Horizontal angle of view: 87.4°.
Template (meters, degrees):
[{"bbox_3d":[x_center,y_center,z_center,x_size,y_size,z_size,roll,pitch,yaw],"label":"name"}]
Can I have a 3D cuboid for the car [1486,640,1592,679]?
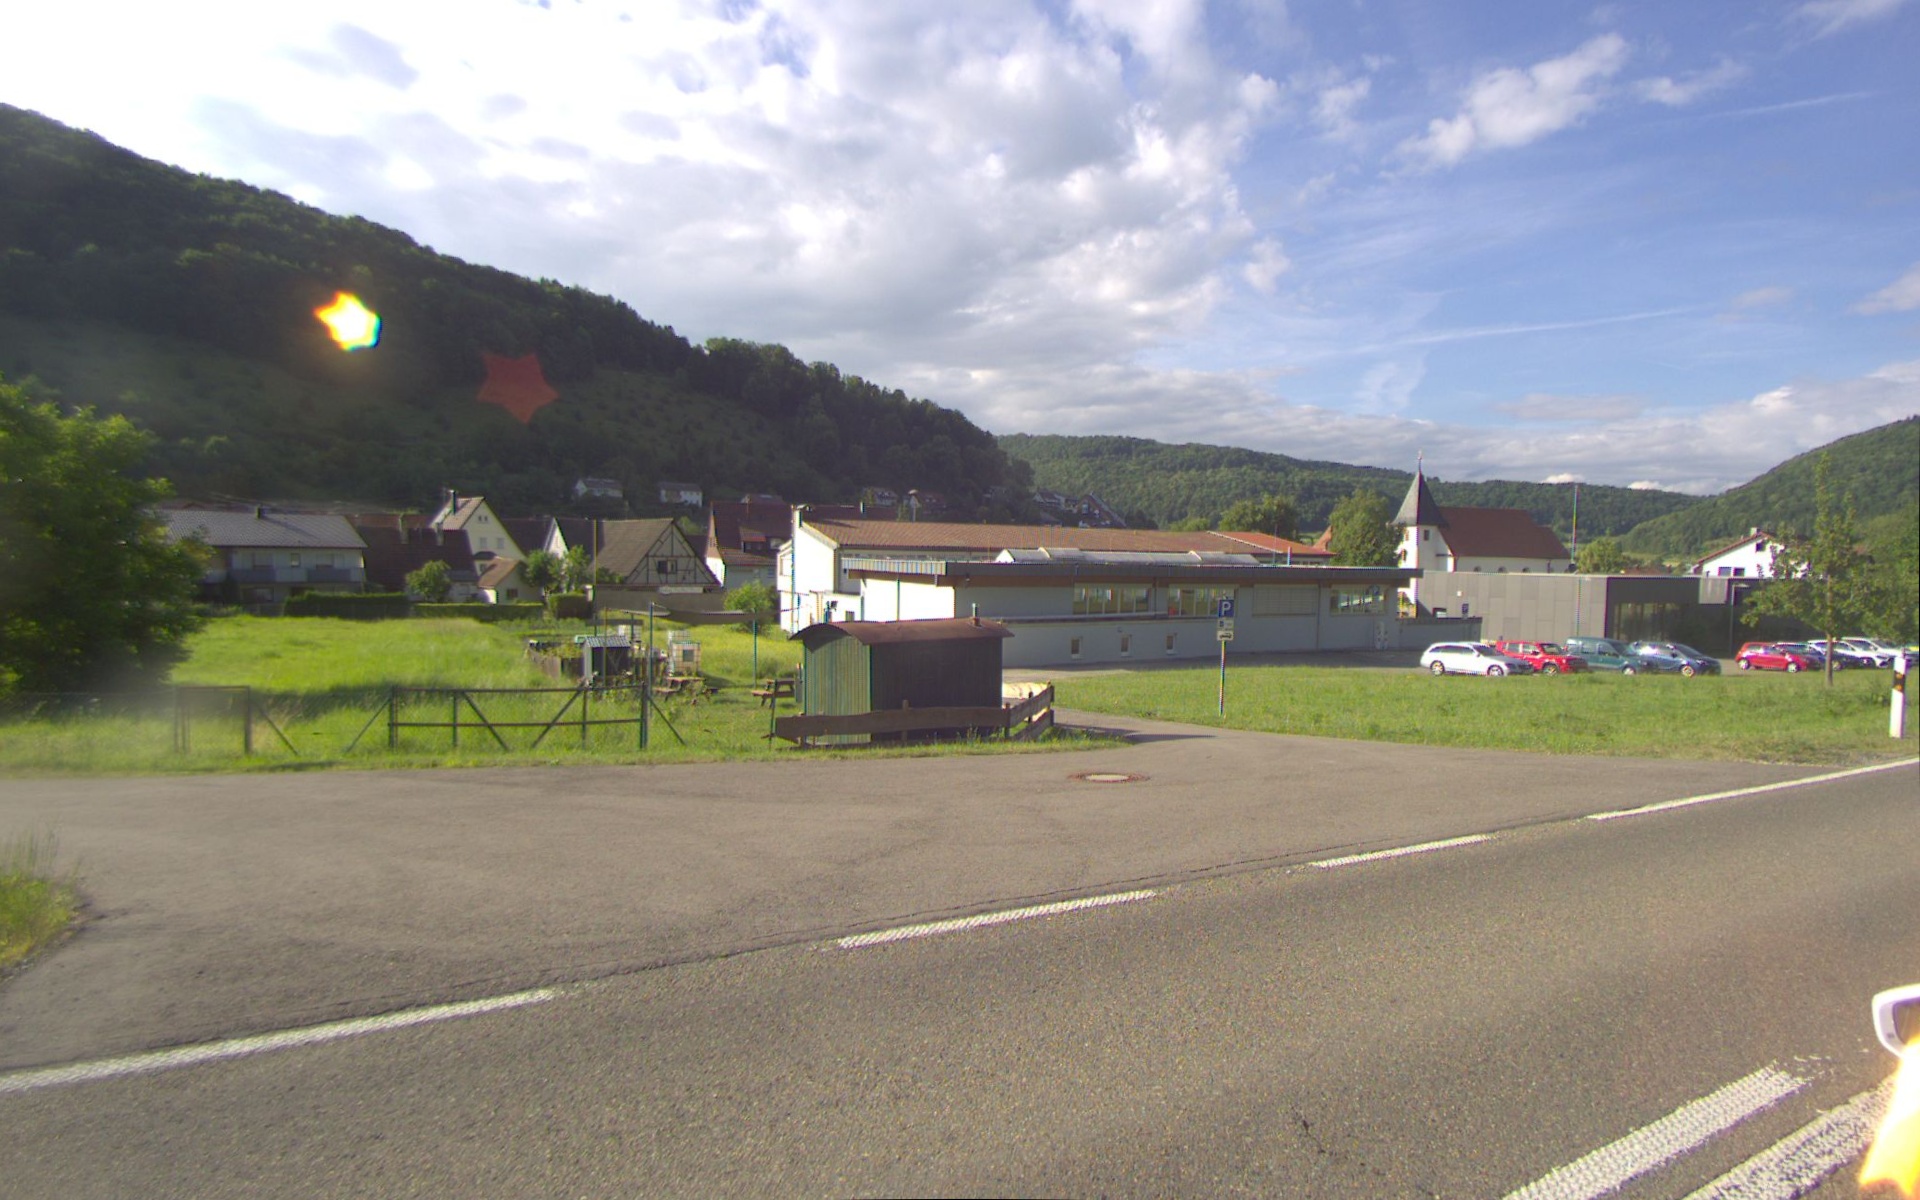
[{"bbox_3d":[26.167,2.647,45.504,1.732,1.600,3.907,1,-1,-26],"label":"car"}]

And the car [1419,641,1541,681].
[{"bbox_3d":[23.183,2.680,44.958,1.973,1.610,4.626,1,-1,-26],"label":"car"}]

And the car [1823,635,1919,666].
[{"bbox_3d":[54.419,2.979,59.989,1.575,1.695,4.065,-1,0,-25],"label":"car"}]

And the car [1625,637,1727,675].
[{"bbox_3d":[35.384,2.732,49.741,1.709,1.744,3.806,1,-1,-26],"label":"car"}]

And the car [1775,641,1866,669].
[{"bbox_3d":[48.612,3.089,56.836,1.575,1.424,3.614,0,-1,-25],"label":"car"}]

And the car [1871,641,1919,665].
[{"bbox_3d":[59.428,3.309,62.802,1.642,1.392,3.351,1,-1,-32],"label":"car"}]

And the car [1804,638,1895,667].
[{"bbox_3d":[51.479,3.012,58.199,1.575,1.513,3.656,0,-1,-25],"label":"car"}]

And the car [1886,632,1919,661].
[{"bbox_3d":[61.970,2.986,63.625,1.816,1.839,4.540,1,-1,-25],"label":"car"}]

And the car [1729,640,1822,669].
[{"bbox_3d":[44.192,2.939,54.509,1.626,1.463,3.614,1,-1,-25],"label":"car"}]

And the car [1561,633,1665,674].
[{"bbox_3d":[31.170,2.542,48.049,1.734,1.745,3.846,1,0,-28],"label":"car"}]
